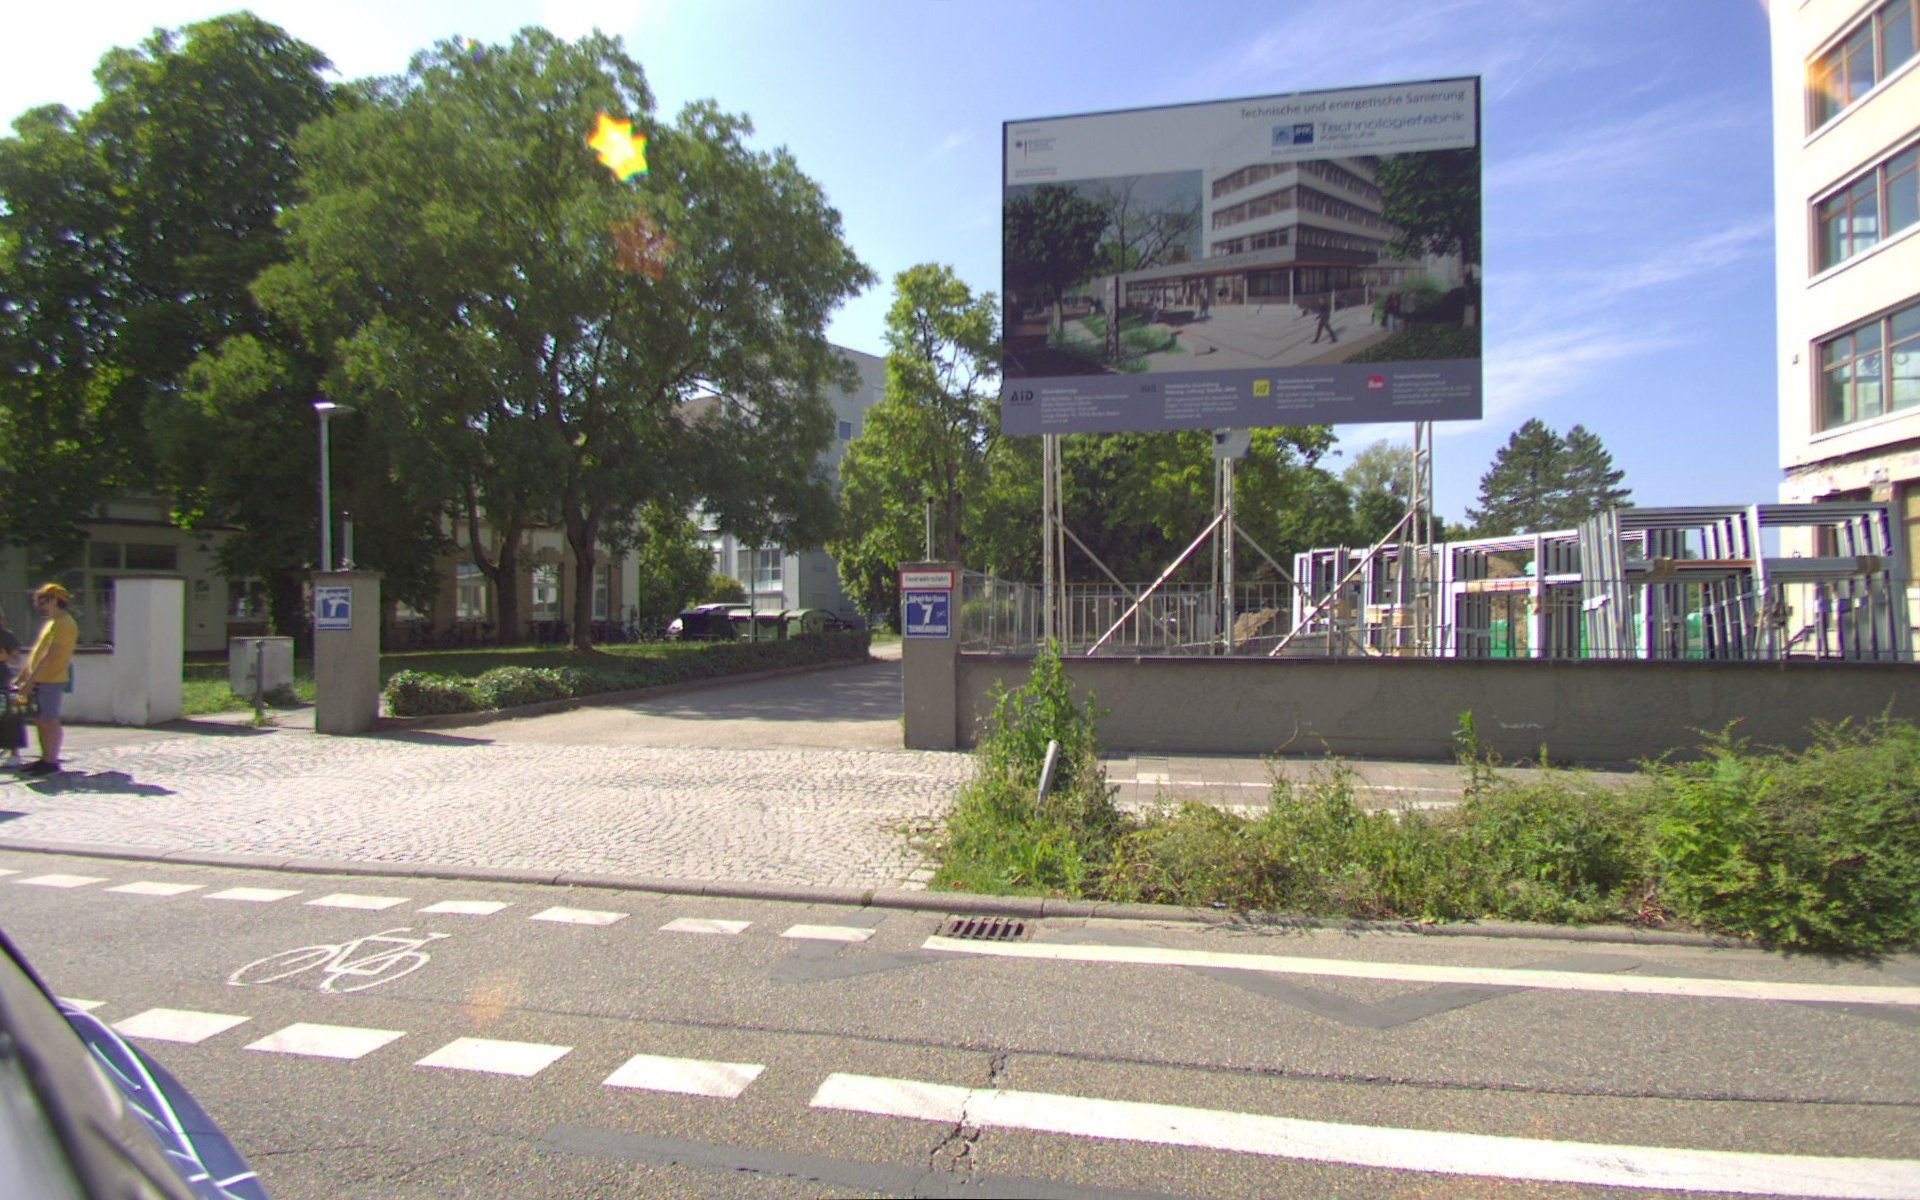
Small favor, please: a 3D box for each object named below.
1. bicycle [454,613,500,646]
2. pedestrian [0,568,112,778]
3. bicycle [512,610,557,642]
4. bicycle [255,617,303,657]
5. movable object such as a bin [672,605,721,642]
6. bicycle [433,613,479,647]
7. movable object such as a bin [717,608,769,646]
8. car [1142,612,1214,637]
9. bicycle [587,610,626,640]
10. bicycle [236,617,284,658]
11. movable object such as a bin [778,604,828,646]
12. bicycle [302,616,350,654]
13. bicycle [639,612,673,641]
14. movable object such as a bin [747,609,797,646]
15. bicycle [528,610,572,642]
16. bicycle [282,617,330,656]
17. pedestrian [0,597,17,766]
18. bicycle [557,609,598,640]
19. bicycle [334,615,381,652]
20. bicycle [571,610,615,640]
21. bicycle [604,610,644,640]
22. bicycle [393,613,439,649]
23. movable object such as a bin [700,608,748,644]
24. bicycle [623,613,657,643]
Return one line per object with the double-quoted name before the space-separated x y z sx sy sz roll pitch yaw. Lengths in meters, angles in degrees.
"bicycle" -17.189 1.037 35.999 2.099 1.170 0.580 -1 -1 37
"pedestrian" -8.769 0.655 9.616 0.826 1.879 0.846 -1 -1 27
"bicycle" -15.821 0.968 37.607 2.099 1.170 0.580 -1 -1 37
"bicycle" -20.895 1.118 31.049 2.099 1.170 0.580 -1 -1 37
"movable object such as a bin" -10.429 0.930 40.020 1.432 1.420 1.236 -1 -1 33
"bicycle" -17.617 1.039 35.363 2.099 1.170 0.580 -1 -1 37
"movable object such as a bin" -8.136 0.999 37.941 1.498 1.372 1.201 -1 -1 34
"car" 13.691 1.553 63.588 3.987 1.519 1.978 -1 -1 32
"bicycle" -14.004 0.993 40.054 1.911 1.170 0.488 -1 -1 37
"bicycle" -20.932 1.097 30.259 2.099 1.170 0.580 -1 -1 37
"movable object such as a bin" -5.634 0.886 36.300 1.196 1.474 1.394 0 -1 -41
"bicycle" -20.189 1.105 32.205 2.099 1.170 0.580 -1 -1 37
"bicycle" -12.490 1.080 41.506 0.549 1.170 1.947 0 -1 -43
"movable object such as a bin" -6.895 0.981 37.058 1.352 1.310 1.201 -1 -1 34
"bicycle" -15.471 0.957 38.173 2.099 1.170 0.580 -1 -1 37
"bicycle" -20.457 1.115 31.635 2.099 1.170 0.580 -1 -1 37
"pedestrian" -9.636 0.799 9.923 0.415 1.633 0.455 -2 2 -27
"bicycle" -14.742 0.936 38.975 1.919 1.170 0.580 -1 -1 37
"bicycle" -19.590 1.078 32.906 2.099 1.170 0.580 -1 -1 37
"bicycle" -14.358 0.976 39.612 2.099 1.170 0.580 -1 -1 37
"bicycle" -13.538 0.998 40.769 1.848 1.170 0.606 -1 -1 37
"bicycle" -18.449 1.045 34.305 2.099 1.170 0.580 -1 -1 37
"movable object such as a bin" -9.123 0.982 39.149 1.349 1.359 1.201 -1 -1 34
"bicycle" -13.034 1.136 41.187 1.804 1.170 0.500 -1 -1 42
